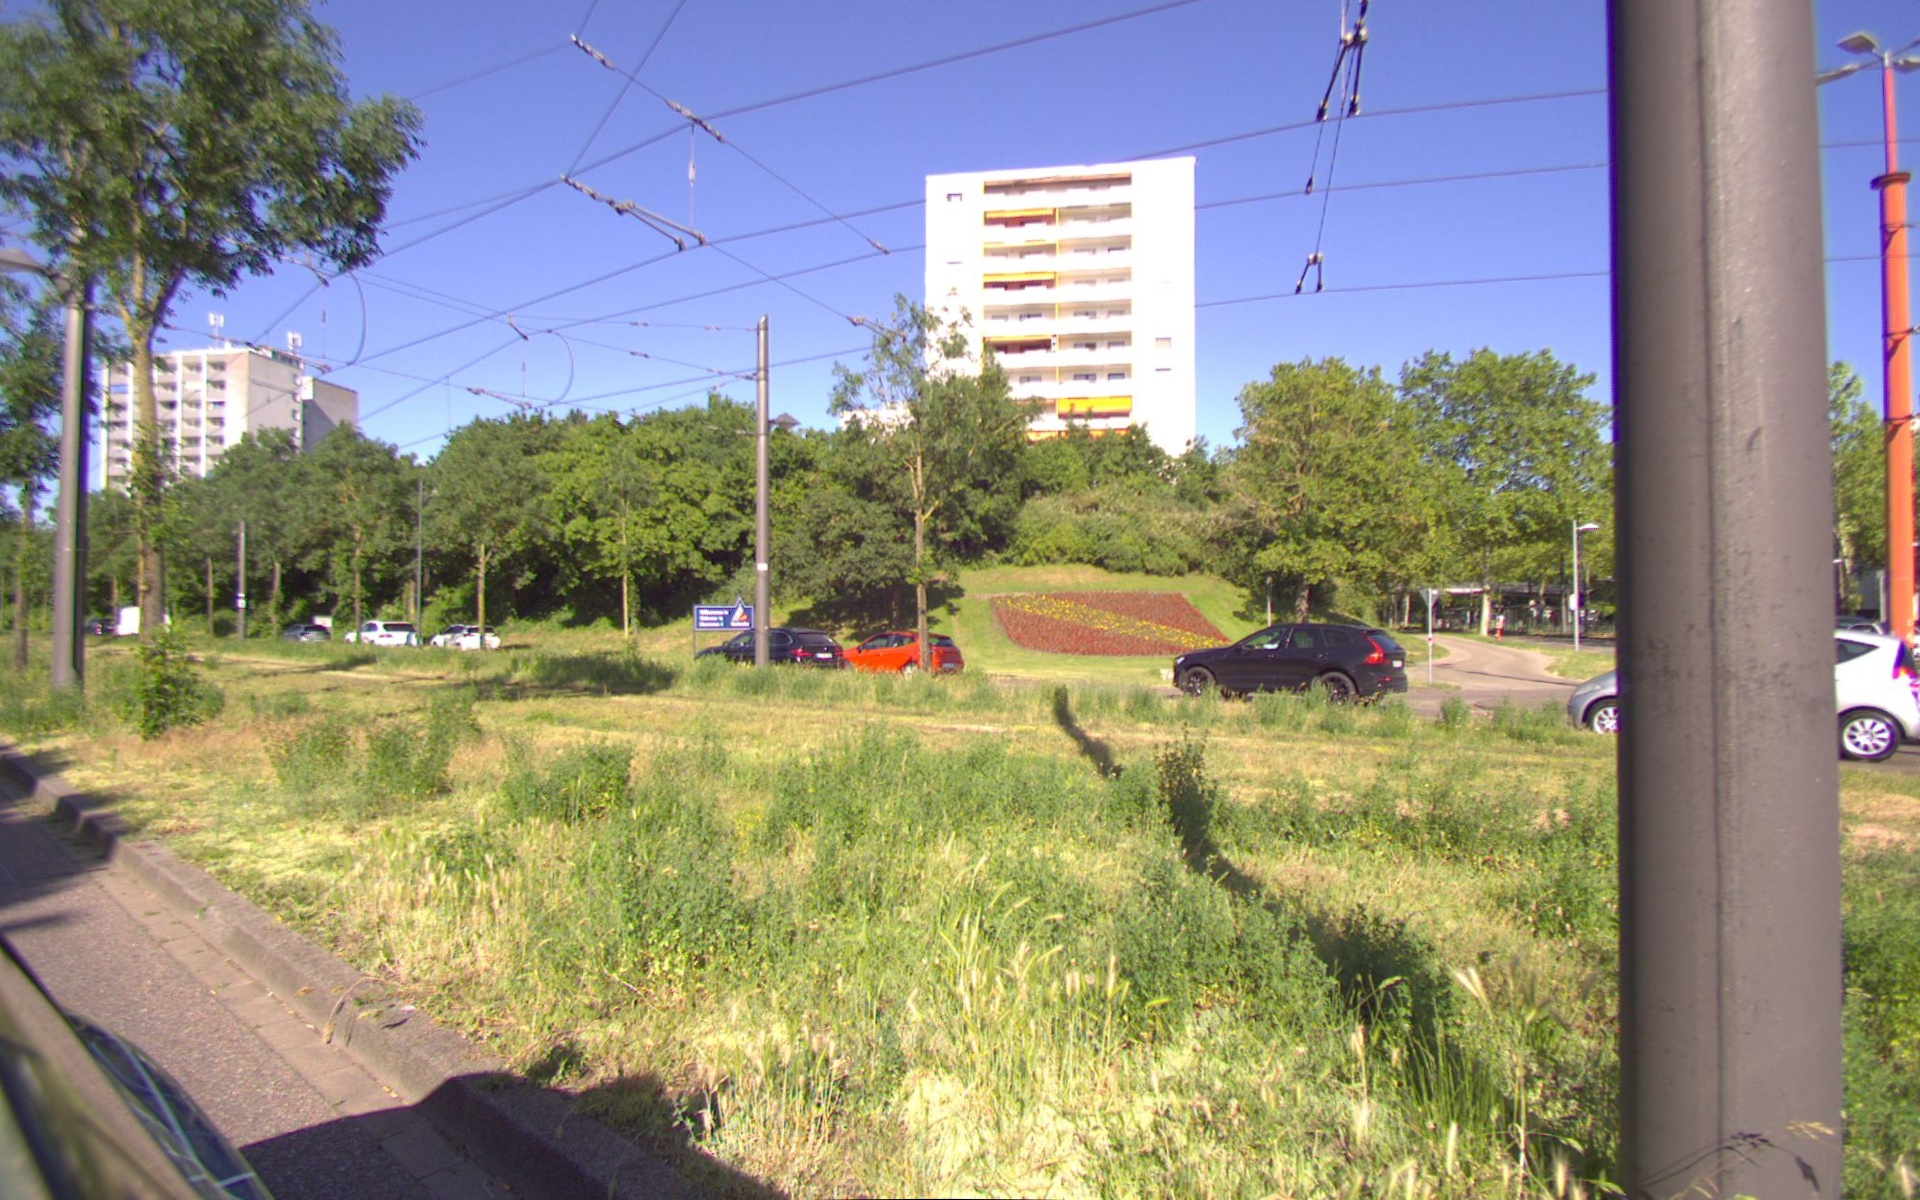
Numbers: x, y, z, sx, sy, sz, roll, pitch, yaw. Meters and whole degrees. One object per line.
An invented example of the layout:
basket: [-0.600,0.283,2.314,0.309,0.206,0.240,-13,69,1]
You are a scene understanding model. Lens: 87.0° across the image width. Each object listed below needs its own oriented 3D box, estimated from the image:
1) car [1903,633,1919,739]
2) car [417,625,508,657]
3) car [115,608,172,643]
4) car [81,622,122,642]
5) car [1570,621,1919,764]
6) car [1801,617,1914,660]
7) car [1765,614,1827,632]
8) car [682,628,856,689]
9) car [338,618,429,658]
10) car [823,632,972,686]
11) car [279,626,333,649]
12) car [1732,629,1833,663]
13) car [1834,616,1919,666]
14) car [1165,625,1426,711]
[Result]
car: [15.517,1.173,13.114,4.691,1.443,1.973,-1,-2,41]
car: [-23.036,1.862,46.824,4.533,1.408,1.883,-1,-1,35]
car: [-58.069,1.786,71.953,6.877,2.387,2.018,-1,-1,41]
car: [-74.071,2.736,87.281,5.270,1.596,1.973,-1,-1,41]
car: [10.257,1.087,13.128,3.757,1.621,1.744,-1,-2,42]
car: [39.496,1.676,44.677,1.892,1.763,3.987,-1,-1,10]
car: [75.365,2.056,91.277,1.864,1.608,4.010,0,-1,-35]
car: [-5.163,1.475,26.867,4.990,1.420,1.972,-1,-1,43]
car: [-25.334,1.637,44.409,4.650,1.634,1.876,-1,-1,38]
car: [-1.779,1.584,27.926,4.174,1.307,1.640,-1,-1,41]
car: [-39.086,2.217,60.442,4.000,1.302,1.778,-1,-1,43]
car: [36.562,2.024,45.110,1.717,1.332,3.987,-1,-1,10]
car: [35.632,1.512,38.419,1.892,1.763,3.987,-1,-1,10]
car: [6.692,1.280,20.519,4.629,1.492,1.973,-1,-1,41]
